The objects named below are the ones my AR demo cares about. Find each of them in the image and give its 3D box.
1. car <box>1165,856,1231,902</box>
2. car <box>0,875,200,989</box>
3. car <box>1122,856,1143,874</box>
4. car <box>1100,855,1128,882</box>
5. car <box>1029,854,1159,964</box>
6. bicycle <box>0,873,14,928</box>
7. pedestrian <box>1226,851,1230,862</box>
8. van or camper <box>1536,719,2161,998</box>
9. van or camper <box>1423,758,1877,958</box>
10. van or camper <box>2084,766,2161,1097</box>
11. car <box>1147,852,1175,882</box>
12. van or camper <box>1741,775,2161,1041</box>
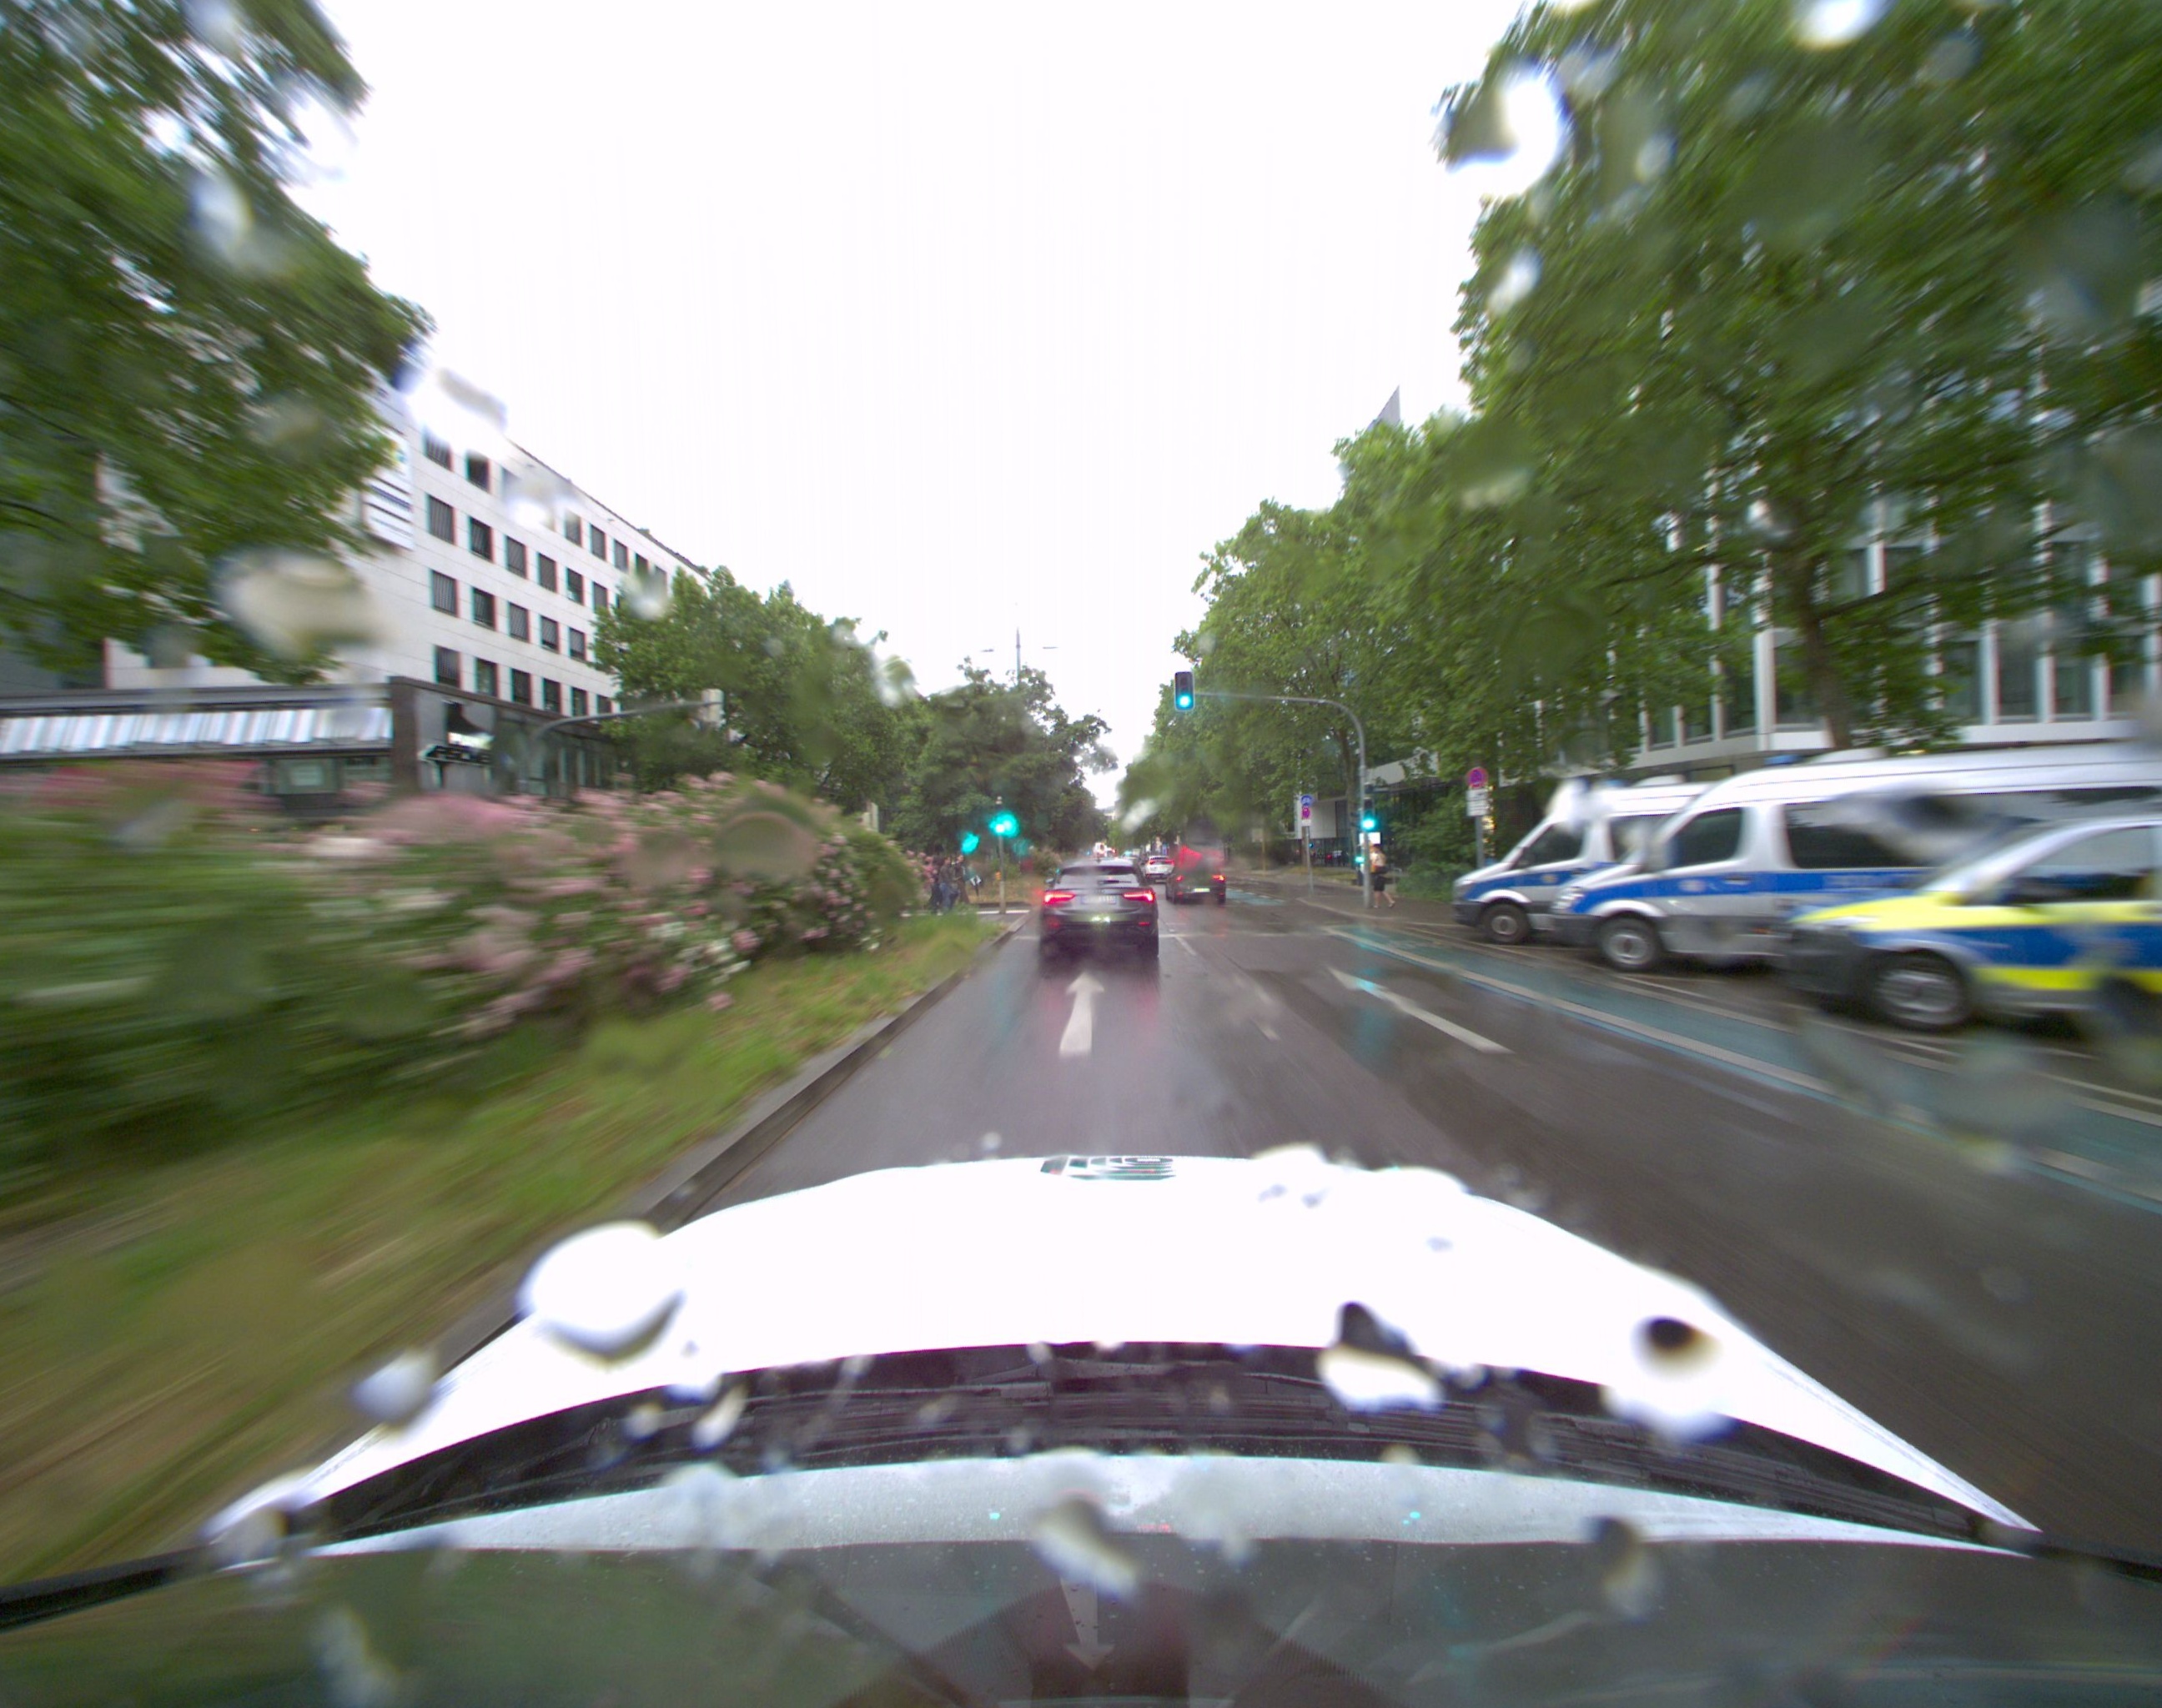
[{"bbox_3d":[3.996,0.817,28.275,1.759,1.413,4.001,-2,0,1],"label":"car"},{"bbox_3d":[-15.985,1.144,11.567,1.987,1.509,4.517,-2,0,0],"label":"car"},{"bbox_3d":[5.303,1.119,84.809,1.986,1.750,4.002,-2,0,2],"label":"car"},{"bbox_3d":[2.086,0.912,52.150,1.715,1.577,3.963,-2,0,1],"label":"car"},{"bbox_3d":[0.304,0.802,14.098,1.855,1.532,4.530,-1,0,3],"label":"car"},{"bbox_3d":[-25.775,1.096,18.306,2.383,1.246,0.688,-1,0,-7],"label":"bicycle"},{"bbox_3d":[24.673,0.461,136.630,0.648,1.816,0.656,-1,0,1],"label":"pedestrian"},{"bbox_3d":[9.069,0.088,10.059,5.736,2.680,2.013,-2,0,37],"label":"van or camper"},{"bbox_3d":[9.028,0.089,13.513,5.741,2.677,2.161,-1,0,39],"label":"van or camper"},{"bbox_3d":[8.627,0.448,3.453,5.142,1.992,2.013,-1,-1,36],"label":"van or camper"},{"bbox_3d":[4.816,0.757,49.258,1.428,1.685,2.980,-2,0,2],"label":"car"},{"bbox_3d":[8.886,0.411,6.920,4.952,2.014,2.013,-2,-2,37],"label":"van or camper"}]
